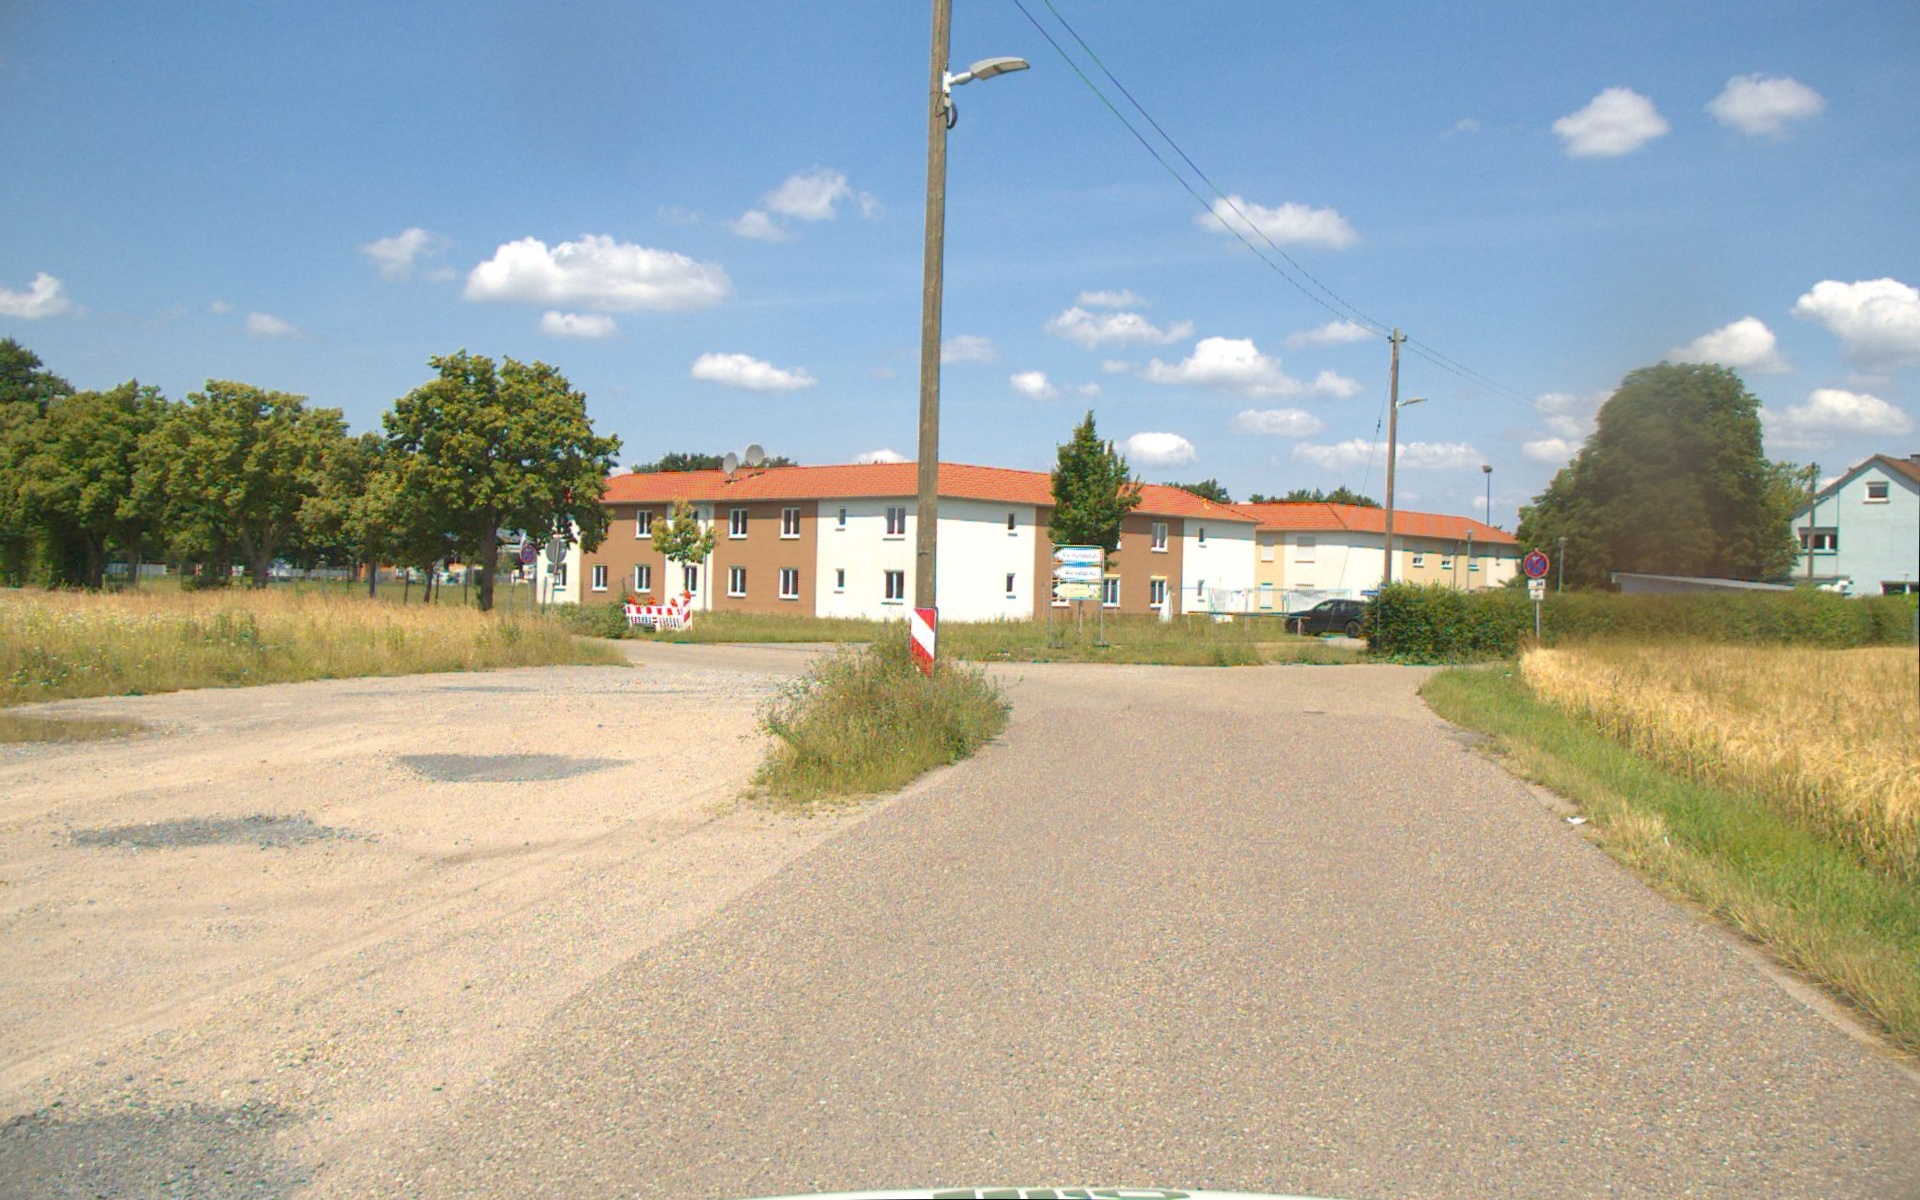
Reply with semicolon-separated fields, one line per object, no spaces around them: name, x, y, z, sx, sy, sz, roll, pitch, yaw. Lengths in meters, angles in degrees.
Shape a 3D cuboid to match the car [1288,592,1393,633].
car;16.803;0.549;73.165;4.076;1.643;1.988;2;0;43
